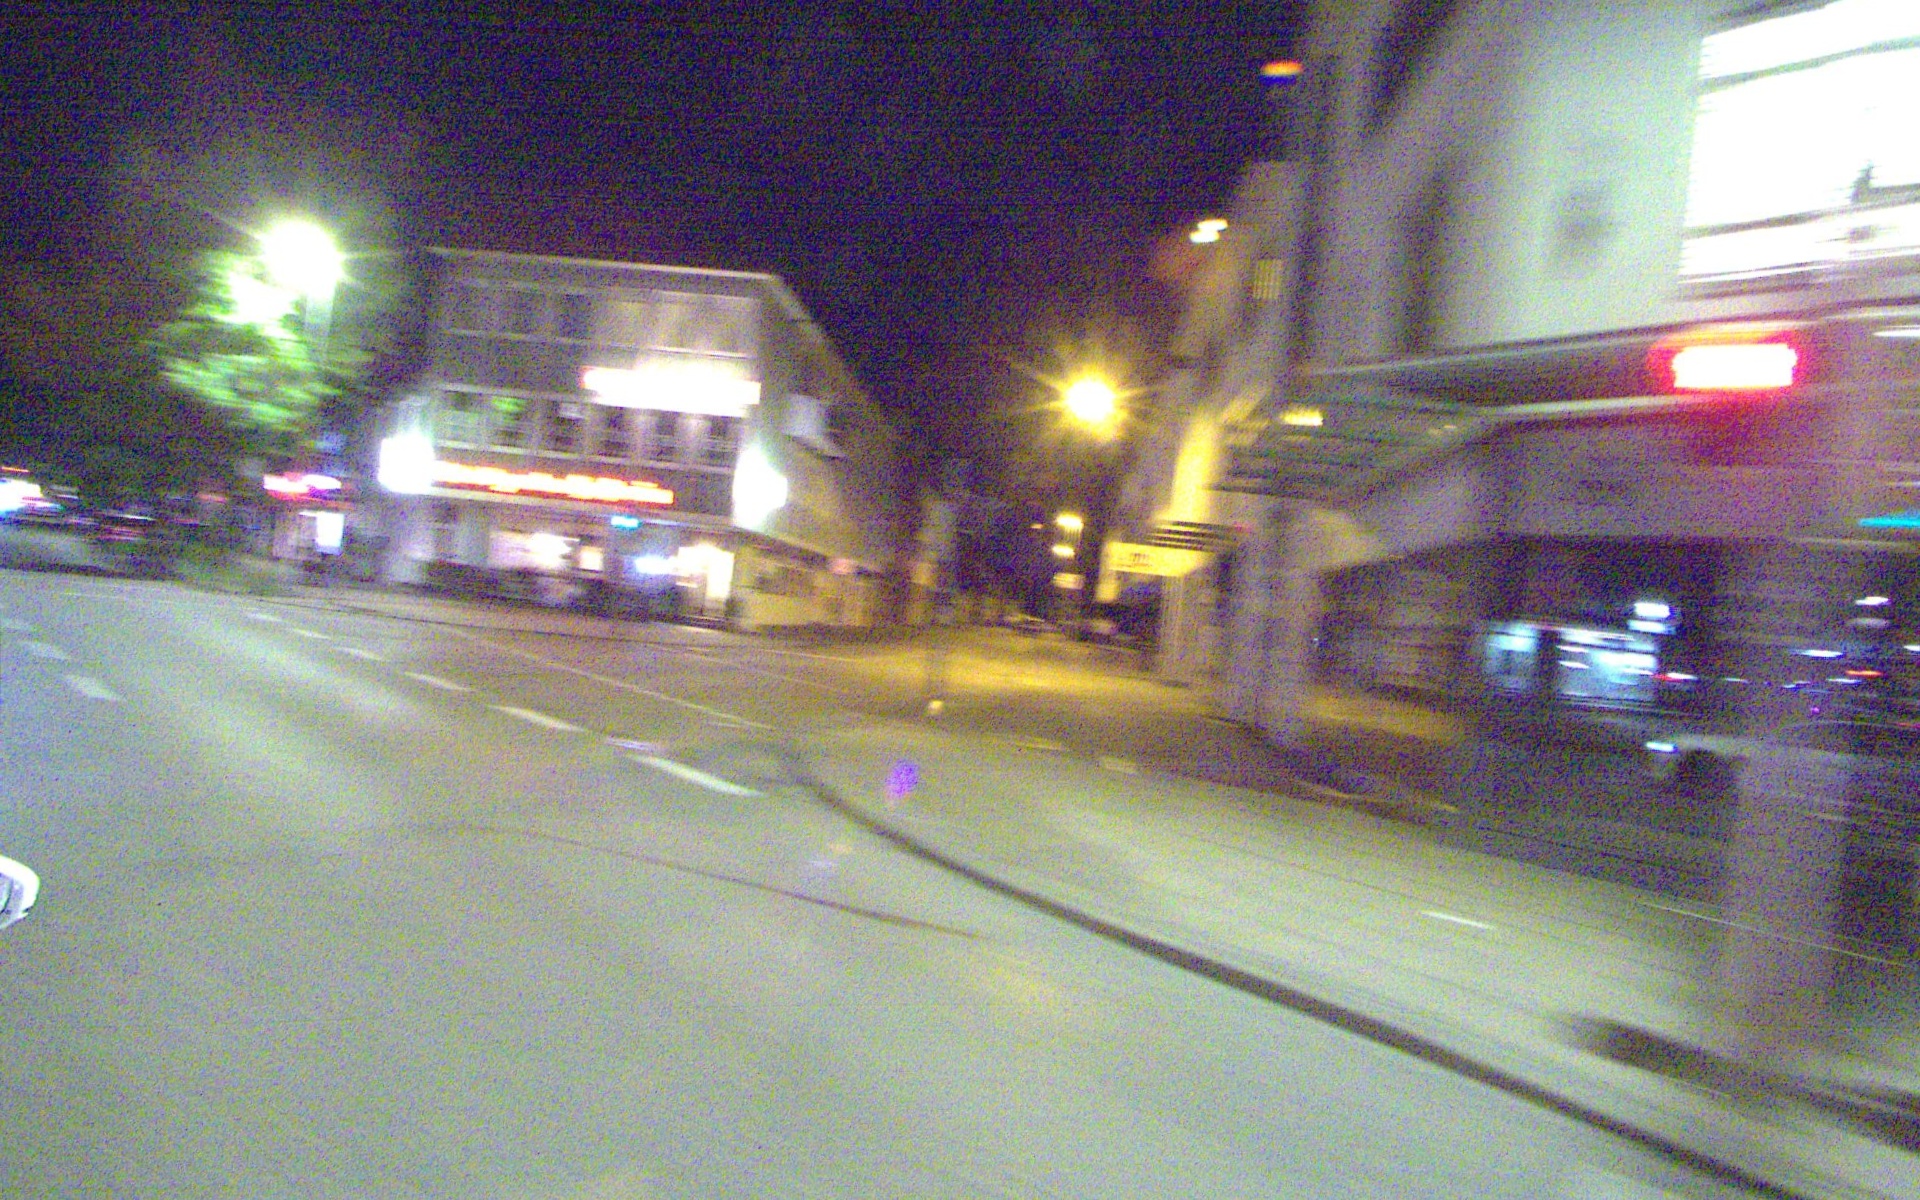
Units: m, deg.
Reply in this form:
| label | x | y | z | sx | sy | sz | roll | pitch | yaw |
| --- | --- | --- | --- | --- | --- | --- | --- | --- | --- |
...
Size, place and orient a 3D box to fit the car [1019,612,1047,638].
| label | x | y | z | sx | sy | sz | roll | pitch | yaw |
| --- | --- | --- | --- | --- | --- | --- | --- | --- | --- |
| car | 5.736 | 2.001 | 79.568 | 1.962 | 1.770 | 4.004 | 8 | -2 | 4 |

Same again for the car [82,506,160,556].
| label | x | y | z | sx | sy | sz | roll | pitch | yaw |
| --- | --- | --- | --- | --- | --- | --- | --- | --- | --- |
| car | -35.498 | -2.950 | 42.541 | 3.810 | 1.672 | 1.867 | 6 | -2 | 42 |

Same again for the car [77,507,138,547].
| label | x | y | z | sx | sy | sz | roll | pitch | yaw |
| --- | --- | --- | --- | --- | --- | --- | --- | --- | --- |
| car | -38.970 | -3.329 | 46.067 | 1.881 | 1.470 | 3.853 | 9 | -2 | -39 |

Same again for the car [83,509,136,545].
| label | x | y | z | sx | sy | sz | roll | pitch | yaw |
| --- | --- | --- | --- | --- | --- | --- | --- | --- | --- |
| car | -43.893 | -3.791 | 51.903 | 1.883 | 1.470 | 3.850 | 9 | -2 | -41 |

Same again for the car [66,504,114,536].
| label | x | y | z | sx | sy | sz | roll | pitch | yaw |
| --- | --- | --- | --- | --- | --- | --- | --- | --- | --- |
| car | -55.821 | -5.131 | 64.613 | 1.999 | 1.645 | 3.853 | 9 | -2 | -39 |
